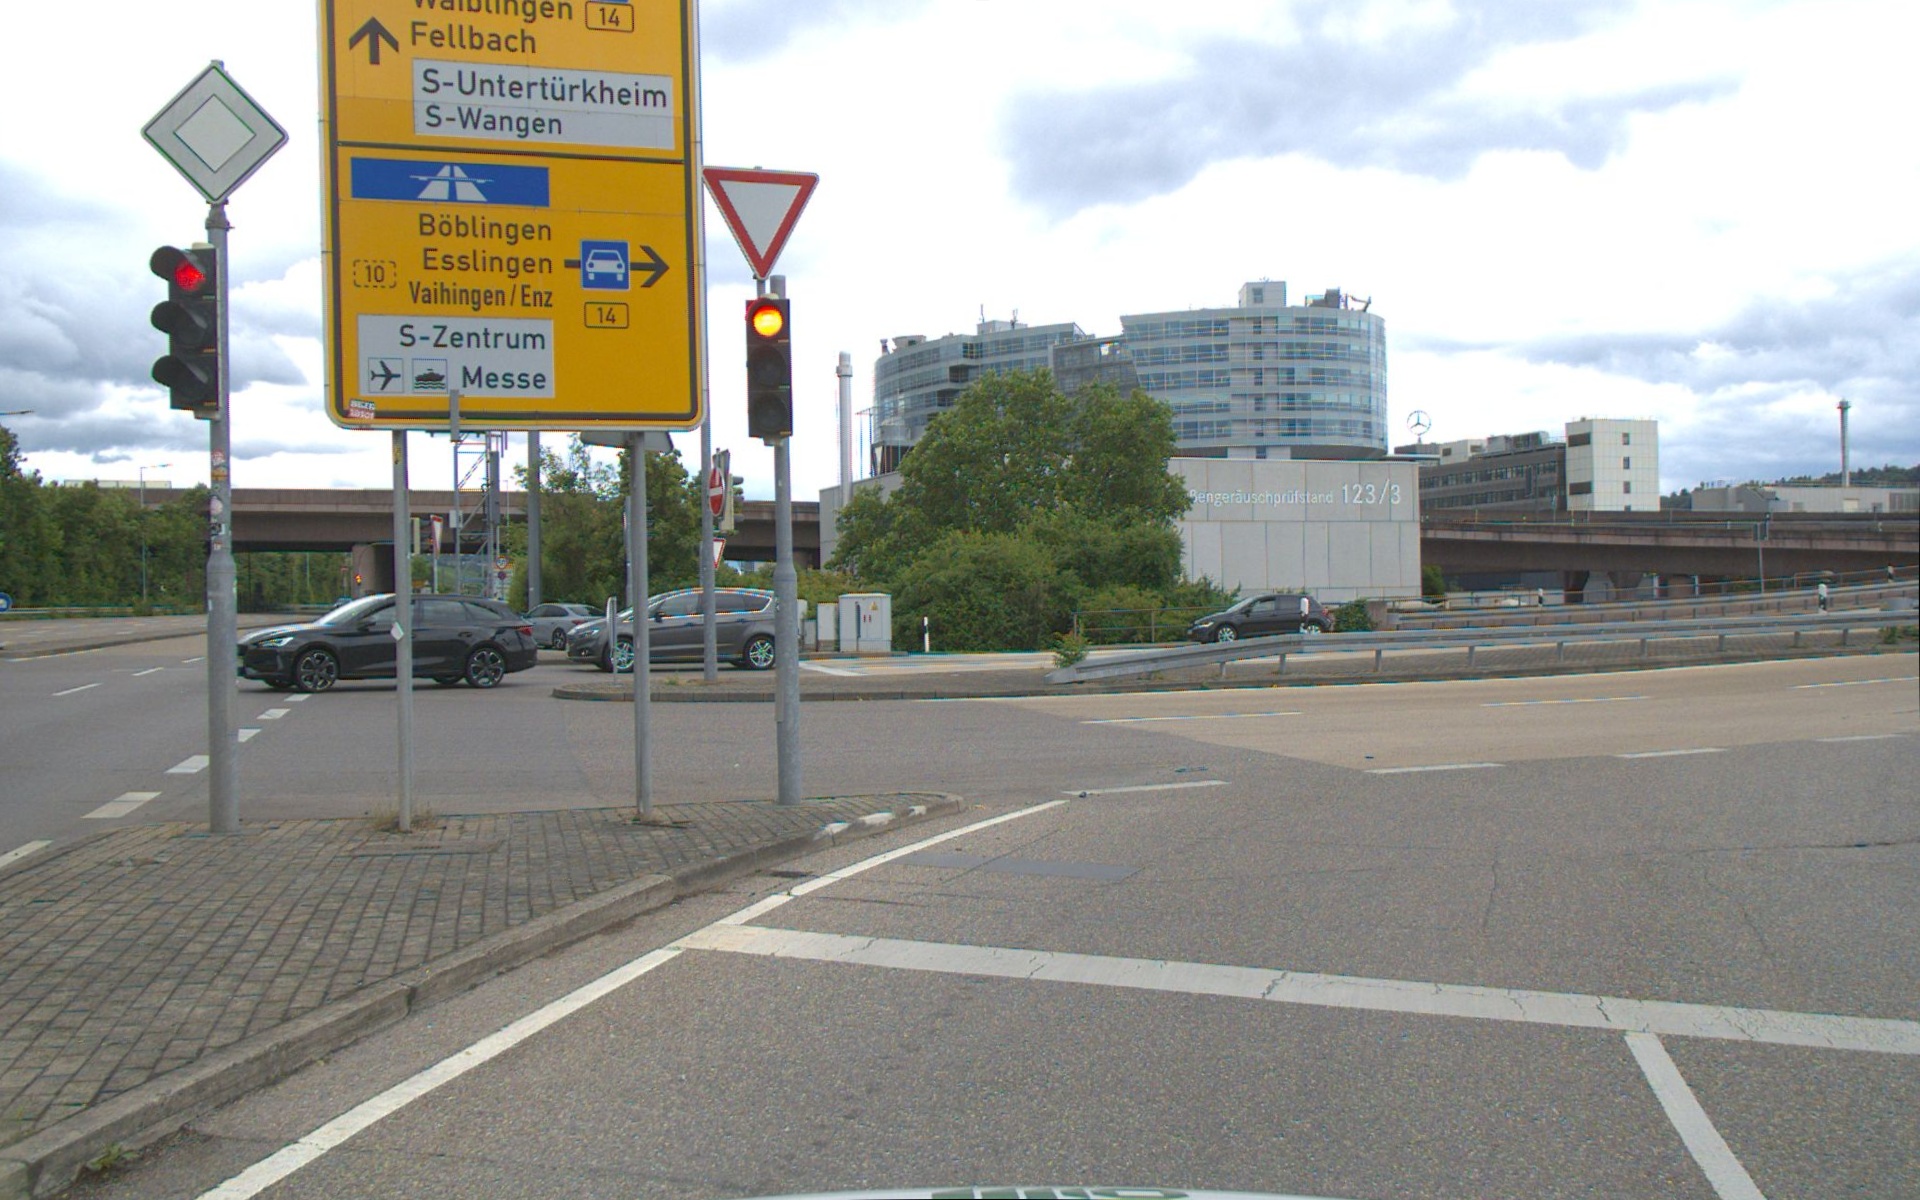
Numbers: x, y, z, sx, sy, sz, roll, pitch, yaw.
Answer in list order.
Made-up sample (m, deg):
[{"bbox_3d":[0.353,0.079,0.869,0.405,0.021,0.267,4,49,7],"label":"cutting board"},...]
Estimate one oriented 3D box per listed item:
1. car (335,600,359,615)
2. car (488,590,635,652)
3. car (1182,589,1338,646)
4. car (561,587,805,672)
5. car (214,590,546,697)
[{"bbox_3d":[-68.894,0.828,185.949,1.830,1.407,3.858,3,1,-12],"label":"car"},{"bbox_3d":[-12.665,0.654,52.450,4.652,1.691,1.908,3,0,35],"label":"car"},{"bbox_3d":[8.402,0.477,46.504,3.906,1.446,1.912,-2,1,-9],"label":"car"},{"bbox_3d":[-5.626,0.550,33.514,4.611,1.599,1.944,0,1,-21],"label":"car"},{"bbox_3d":[-9.026,0.613,25.939,4.576,1.482,1.928,-1,1,-40],"label":"car"}]
